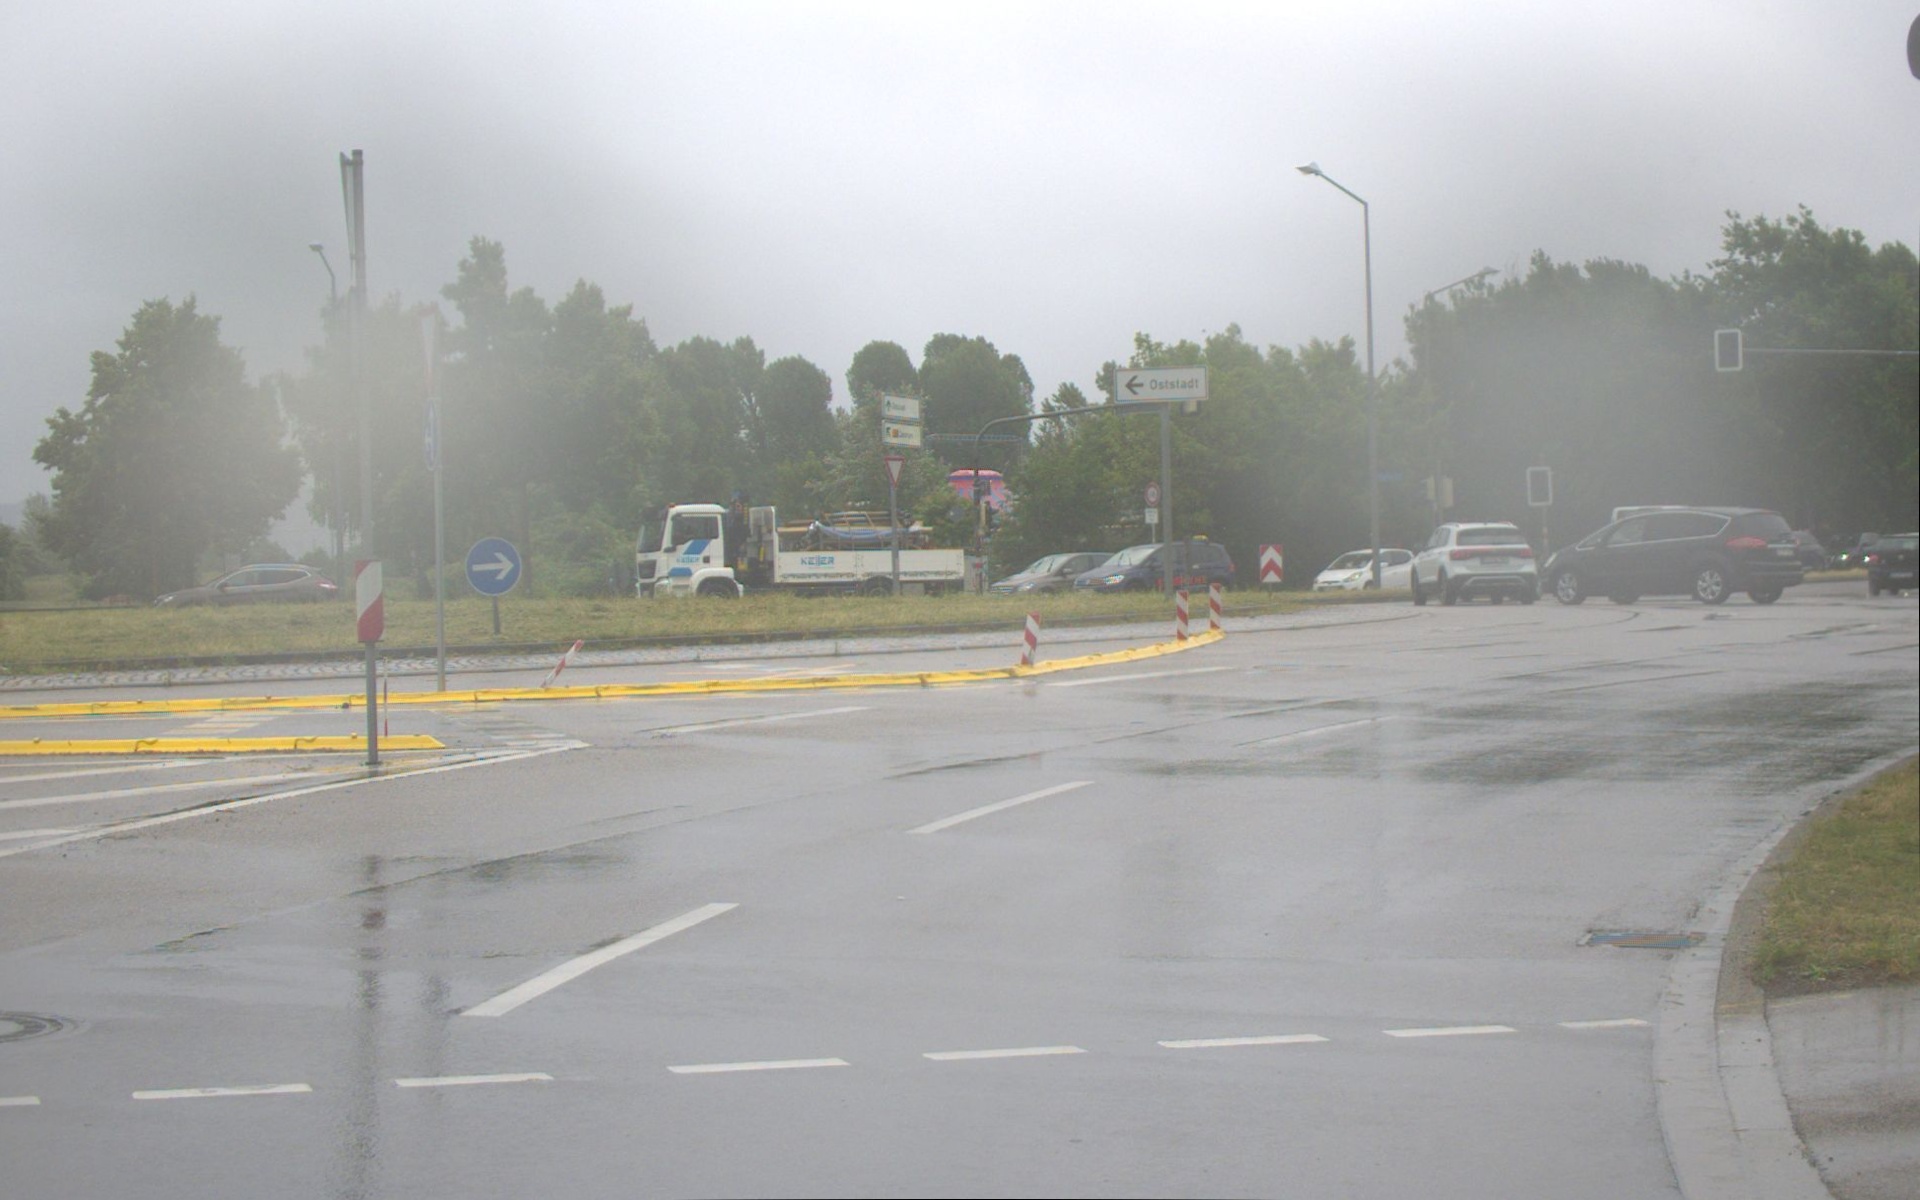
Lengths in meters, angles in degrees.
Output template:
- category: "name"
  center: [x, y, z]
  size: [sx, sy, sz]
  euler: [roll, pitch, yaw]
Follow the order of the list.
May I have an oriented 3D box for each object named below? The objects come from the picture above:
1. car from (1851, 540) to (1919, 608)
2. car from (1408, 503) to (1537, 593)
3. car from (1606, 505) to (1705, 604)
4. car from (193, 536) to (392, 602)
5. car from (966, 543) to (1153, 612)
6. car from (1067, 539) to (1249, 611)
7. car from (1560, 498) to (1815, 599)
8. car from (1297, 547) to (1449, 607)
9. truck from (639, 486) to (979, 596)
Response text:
- category: "car"
  center: [21.860, -0.615, 78.704]
  size: [1.692, 1.487, 3.244]
  euler: [0, 1, 37]
- category: "car"
  center: [9.728, -0.983, 65.506]
  size: [1.680, 1.642, 3.947]
  euler: [1, 1, -2]
- category: "car"
  center: [14.837, -0.952, 73.234]
  size: [1.784, 2.029, 3.997]
  euler: [1, 1, 15]
- category: "car"
  center: [-15.800, -0.725, 81.358]
  size: [4.533, 1.487, 1.612]
  euler: [1, 0, -14]
- category: "car"
  center: [2.590, -0.569, 88.784]
  size: [4.852, 1.738, 1.777]
  euler: [0, 1, -40]
- category: "car"
  center: [4.938, -0.607, 85.158]
  size: [1.776, 1.738, 4.853]
  euler: [1, 1, 43]
- category: "car"
  center: [12.347, -0.877, 58.526]
  size: [1.784, 1.642, 3.999]
  euler: [0, 1, -39]
- category: "car"
  center: [12.238, -0.673, 101.605]
  size: [4.853, 1.738, 1.777]
  euler: [0, 1, -44]
- category: "truck"
  center: [-3.864, -1.492, 89.259]
  size: [8.767, 2.702, 2.000]
  euler: [0, 1, -28]
